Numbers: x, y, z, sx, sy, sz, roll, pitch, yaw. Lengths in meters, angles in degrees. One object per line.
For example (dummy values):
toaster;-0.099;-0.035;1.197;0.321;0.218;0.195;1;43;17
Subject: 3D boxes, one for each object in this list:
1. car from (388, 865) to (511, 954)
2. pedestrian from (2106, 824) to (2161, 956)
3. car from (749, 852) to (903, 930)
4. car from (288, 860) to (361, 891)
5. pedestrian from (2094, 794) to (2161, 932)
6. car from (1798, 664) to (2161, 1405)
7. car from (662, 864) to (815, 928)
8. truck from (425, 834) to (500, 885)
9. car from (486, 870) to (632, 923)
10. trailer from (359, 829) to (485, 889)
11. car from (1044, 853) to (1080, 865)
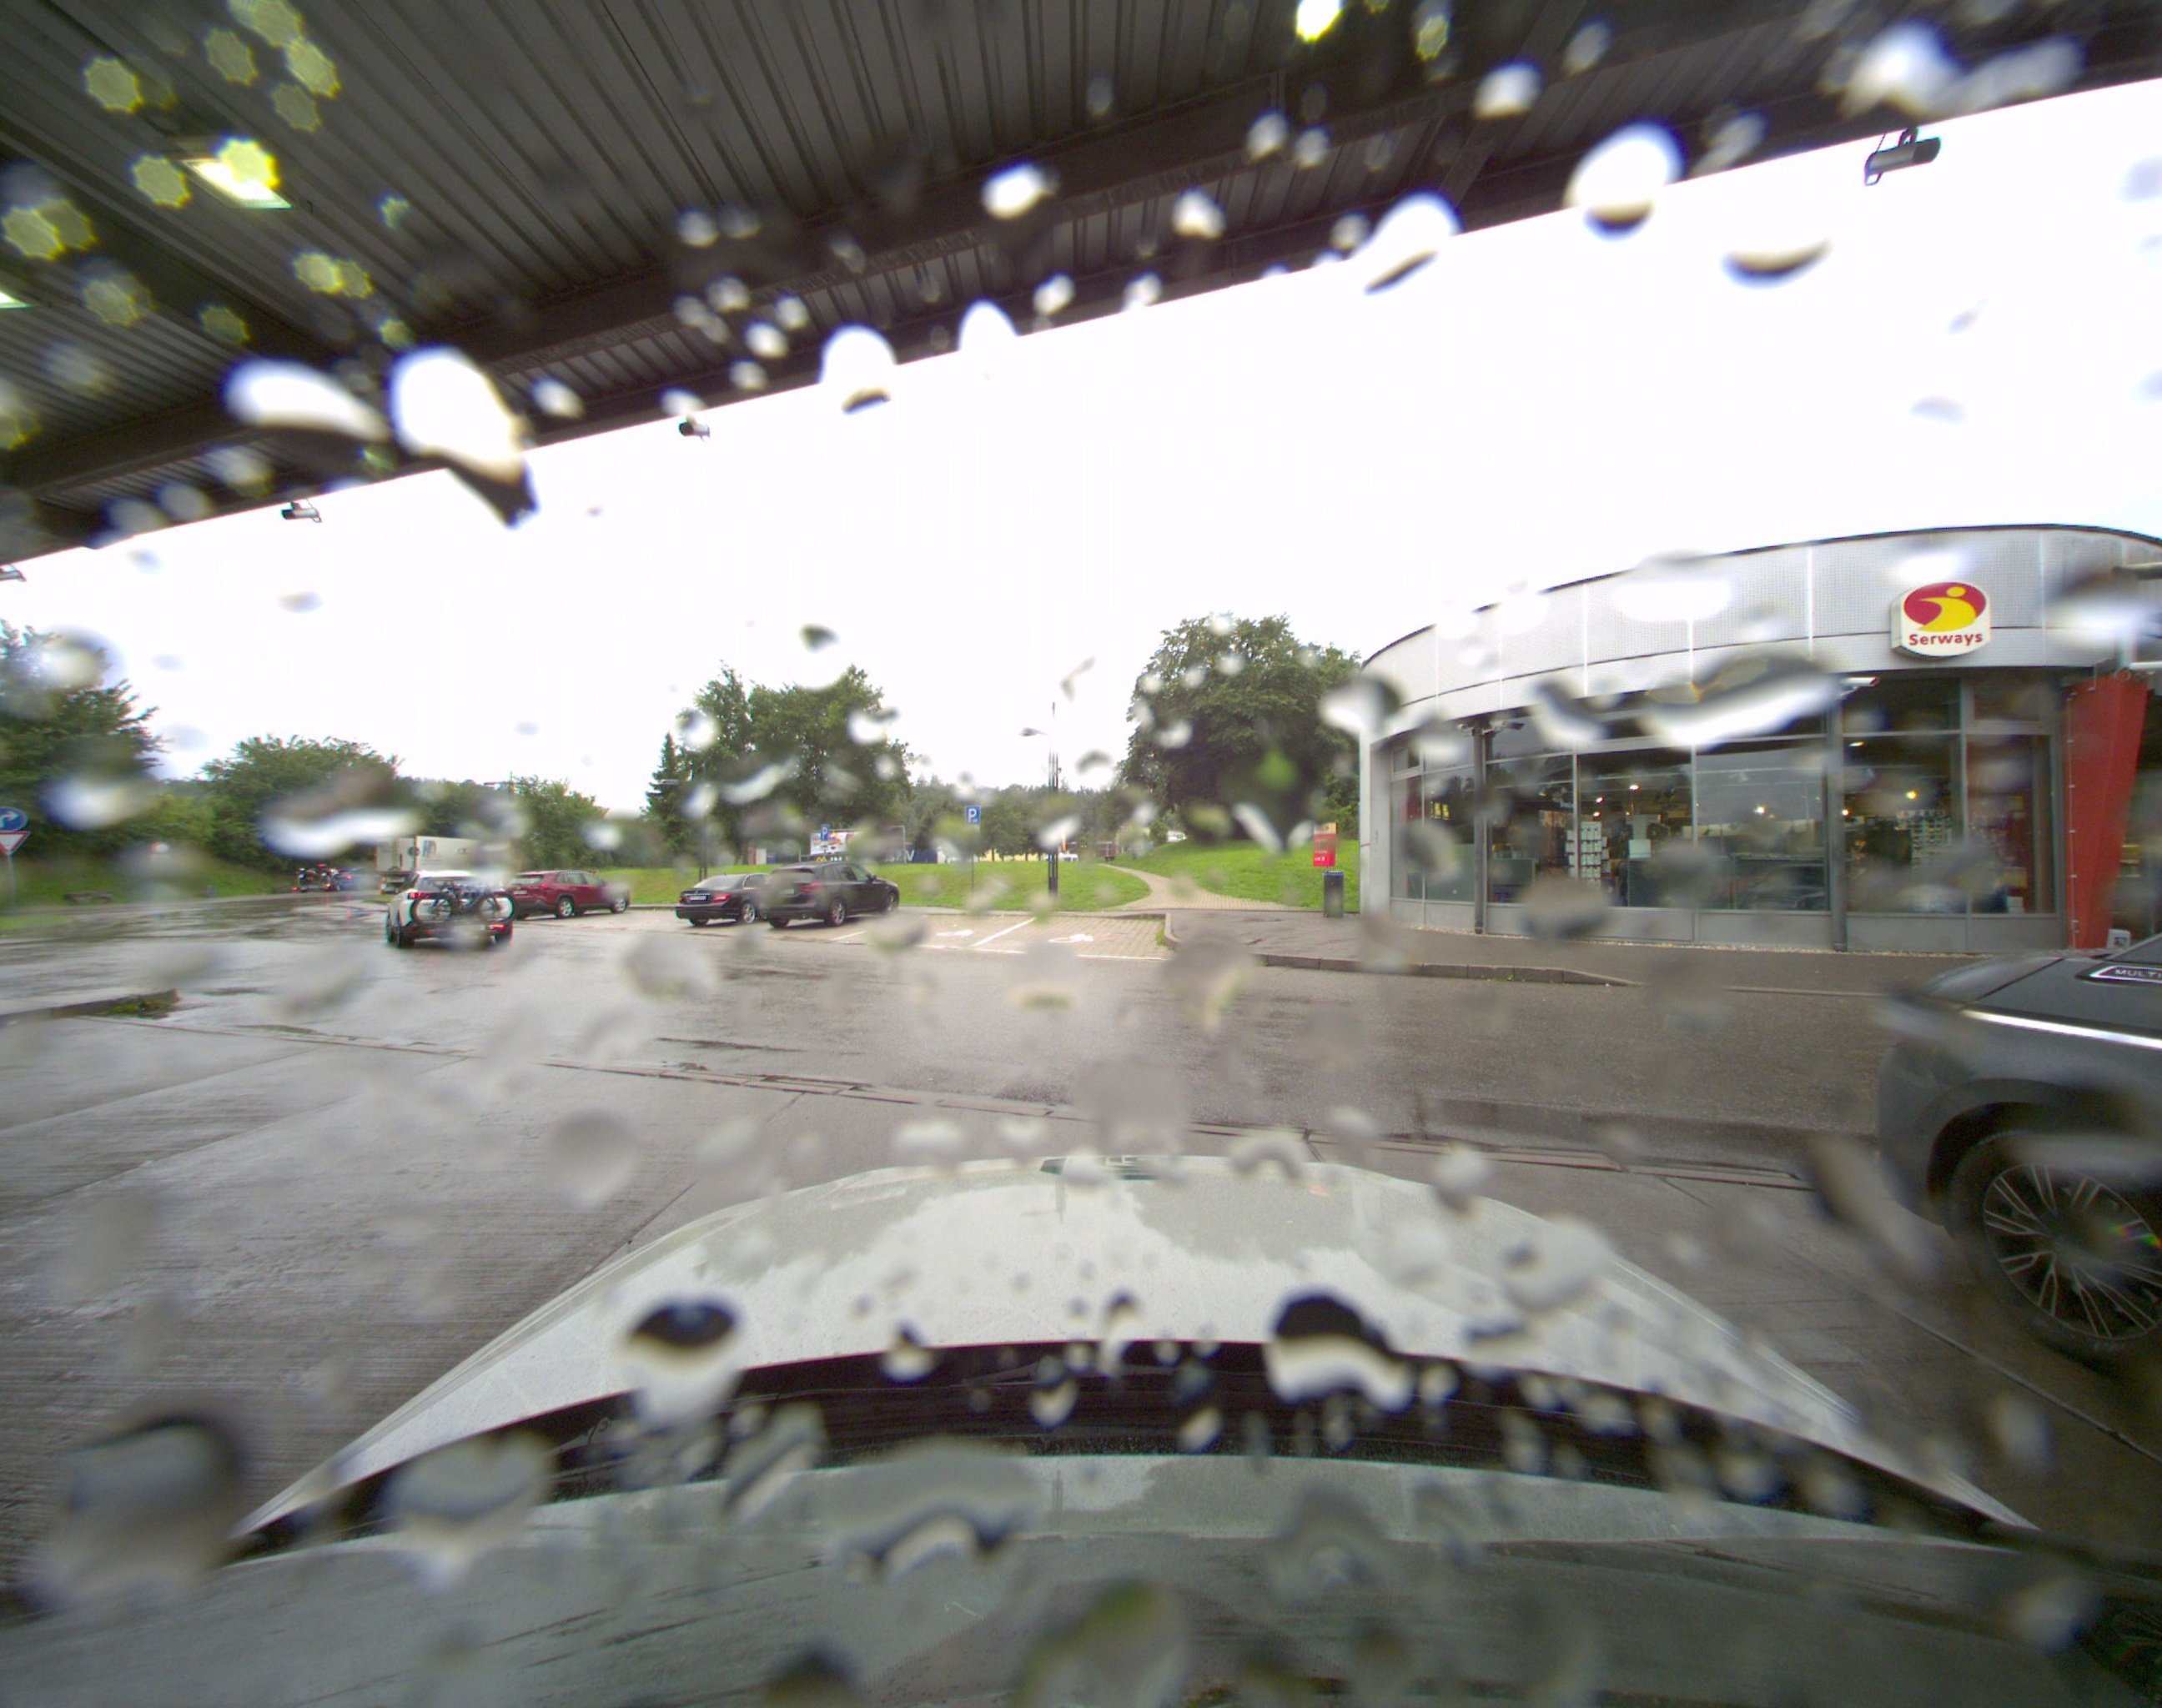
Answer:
car;-13.296;1.038;17.225;1.828;1.565;4.947;0;0;-38
pedestrian;13.108;0.414;9.714;0.880;1.550;0.665;-2;0;31
car;-6.619;0.889;21.743;1.871;1.828;4.429;-2;0;13
car;-49.236;1.357;53.128;1.934;1.838;4.361;-1;0;-20
pedestrian;14.965;0.109;11.235;0.989;1.864;0.804;-2;0;30
car;3.711;0.467;1.231;1.809;1.948;4.002;-1;0;2
car;-9.620;1.139;23.301;1.871;1.565;4.200;-2;0;13
truck;-57.105;0.505;75.429;3.467;4.557;6.694;0;-1;-18
car;-18.149;1.418;28.607;1.873;1.596;4.364;-2;0;8
trailer;-54.883;0.432;68.489;3.466;4.557;13.827;0;-1;-18
car;-3.170;0.805;134.080;5.376;2.013;2.468;-1;0;21
